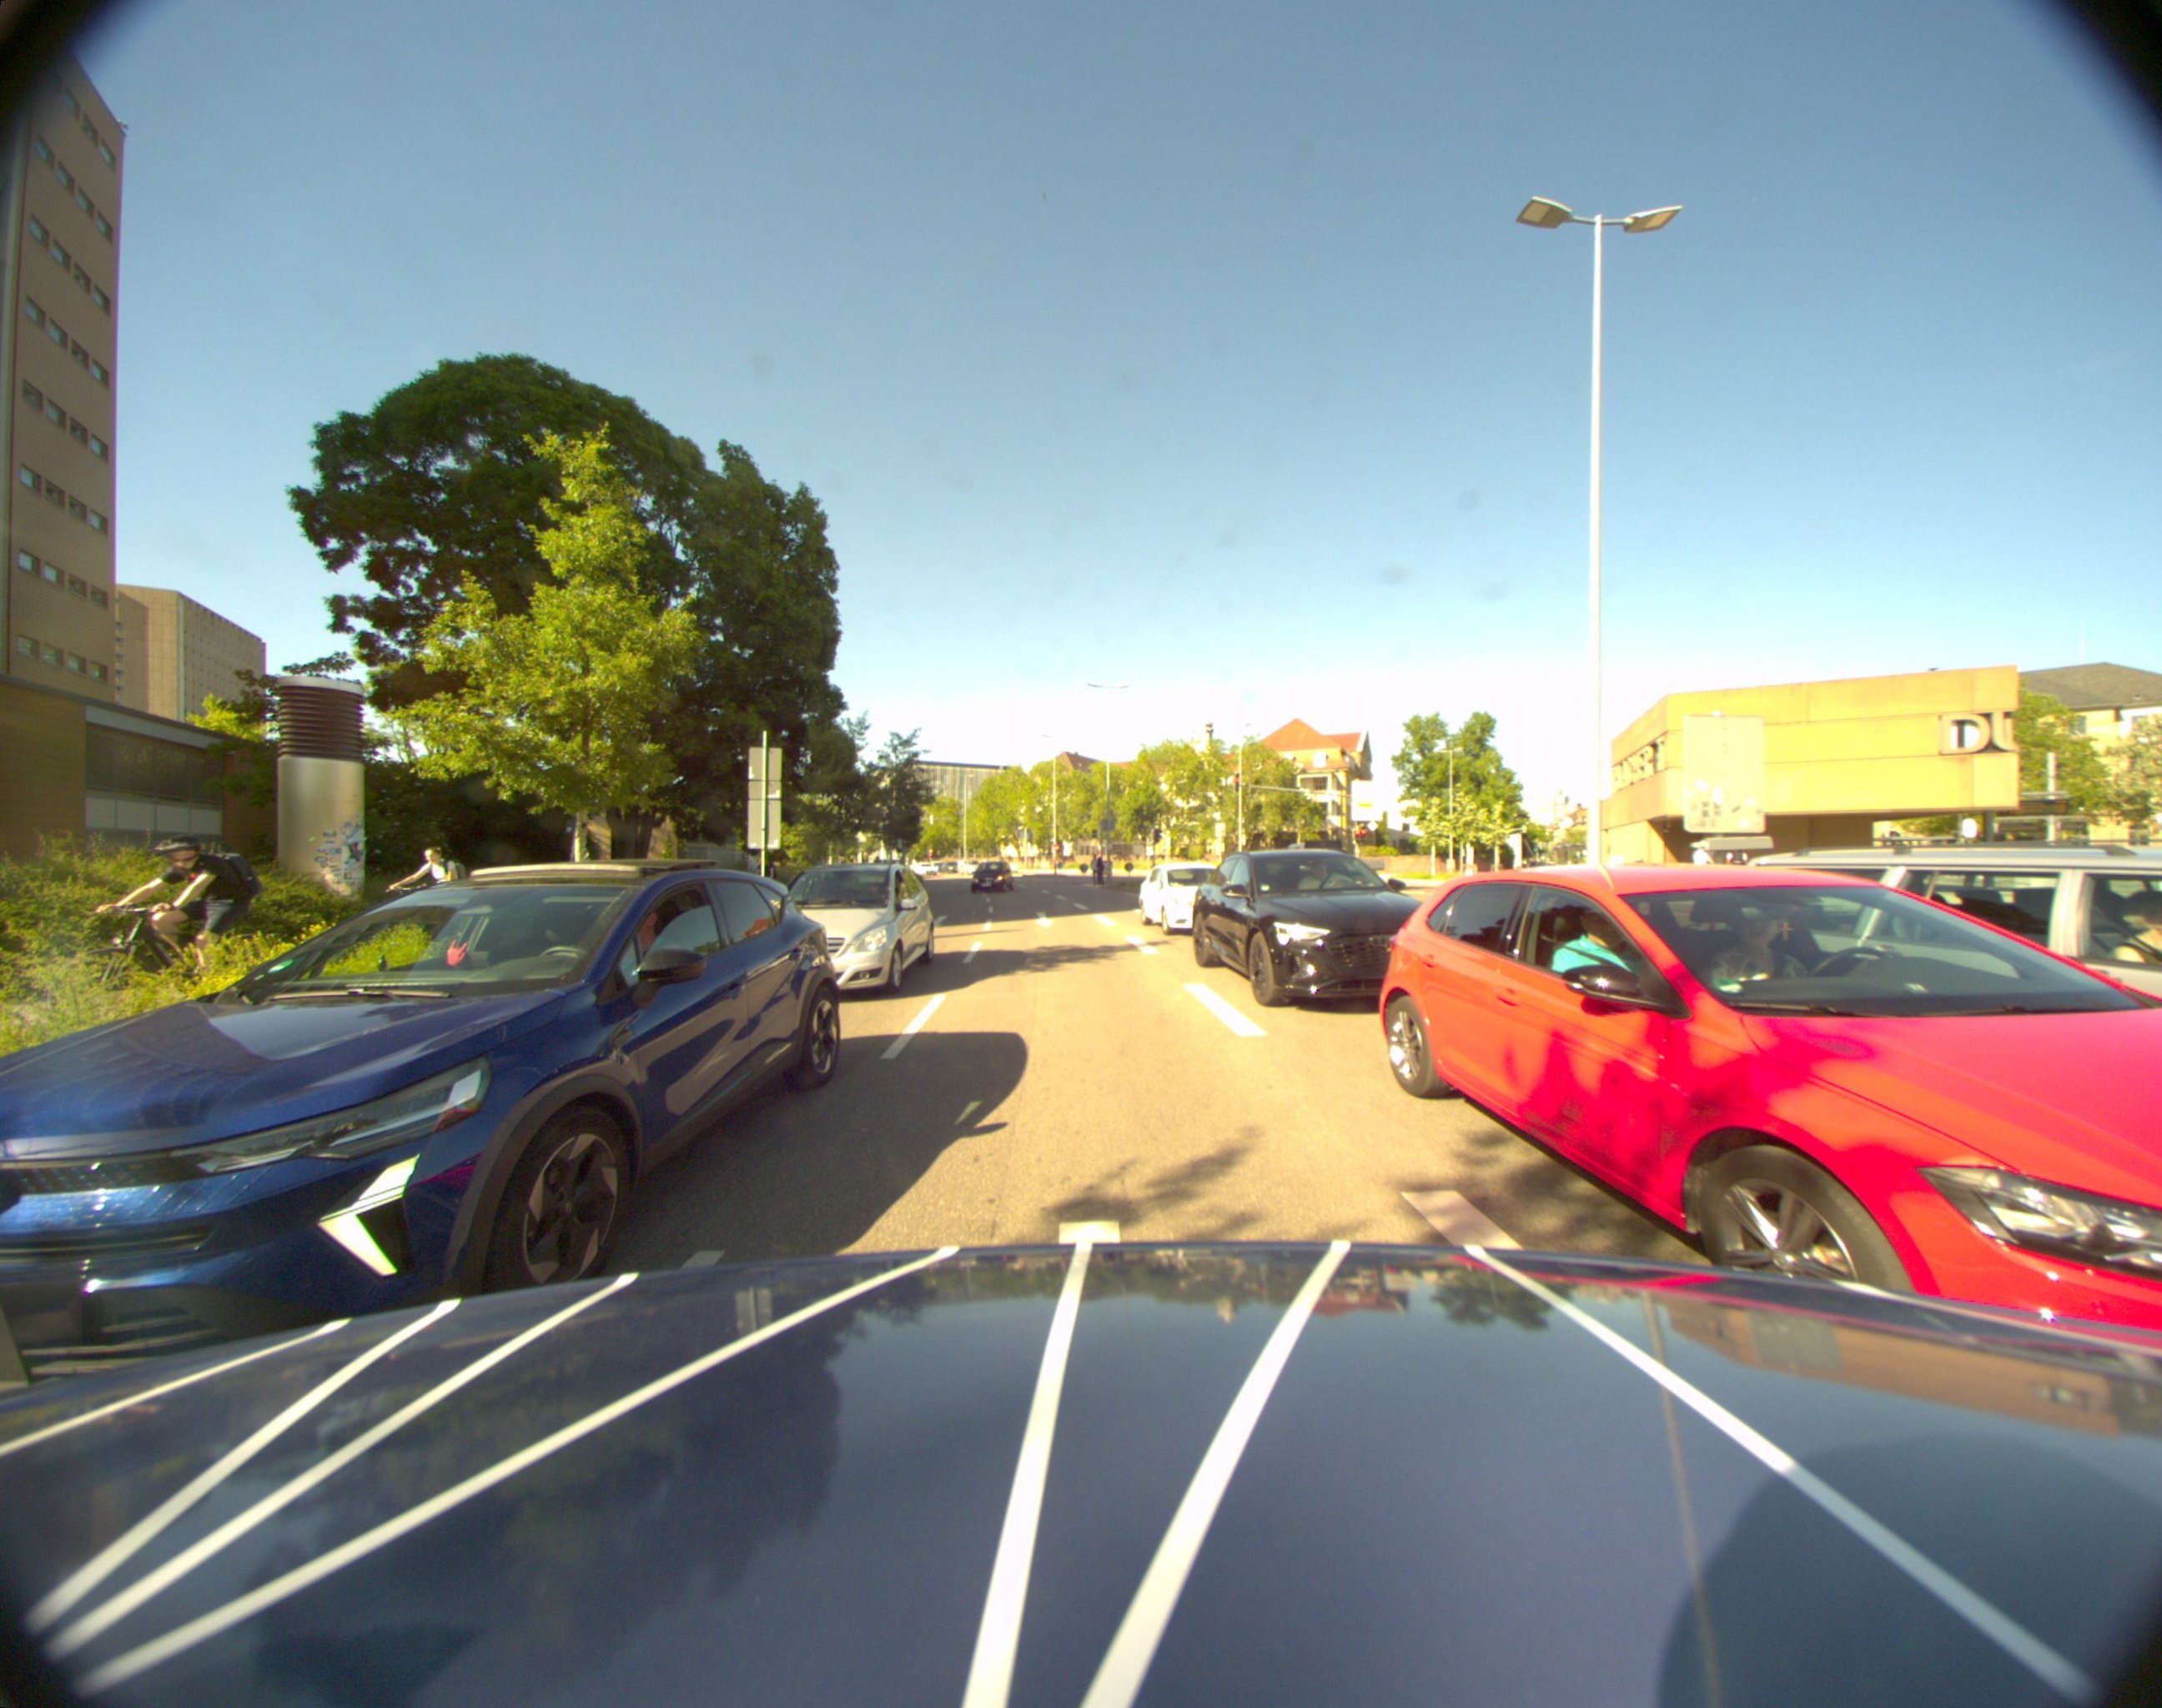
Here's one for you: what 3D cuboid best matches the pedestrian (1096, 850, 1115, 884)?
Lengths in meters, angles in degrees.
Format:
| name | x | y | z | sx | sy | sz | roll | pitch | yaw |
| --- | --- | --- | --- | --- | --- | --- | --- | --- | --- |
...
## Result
| name | x | y | z | sx | sy | sz | roll | pitch | yaw |
| --- | --- | --- | --- | --- | --- | --- | --- | --- | --- |
| pedestrian | 1.351 | 0.718 | 42.046 | 0.757 | 1.814 | 0.775 | -2 | 1 | -17 |

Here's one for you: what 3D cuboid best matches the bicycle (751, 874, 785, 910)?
| name | x | y | z | sx | sy | sz | roll | pitch | yaw |
| --- | --- | --- | --- | --- | --- | --- | --- | --- | --- |
| bicycle | -9.872 | 1.189 | 24.034 | 0.517 | 1.038 | 1.767 | 1 | 0 | -6 |

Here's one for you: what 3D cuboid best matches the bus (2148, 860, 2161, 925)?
| name | x | y | z | sx | sy | sz | roll | pitch | yaw |
| --- | --- | --- | --- | --- | --- | --- | --- | --- | --- |
| bus | 21.617 | 0.727 | 12.667 | 1.646 | 1.234 | 4.182 | -1 | 0 | -5 |

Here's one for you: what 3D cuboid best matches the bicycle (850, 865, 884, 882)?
| name | x | y | z | sx | sy | sz | roll | pitch | yaw |
| --- | --- | --- | --- | --- | --- | --- | --- | --- | --- |
| bicycle | -15.186 | 1.380 | 53.911 | 2.128 | 1.168 | 0.764 | -1 | 1 | -28 |

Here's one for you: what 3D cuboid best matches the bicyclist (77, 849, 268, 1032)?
| name | x | y | z | sx | sy | sz | roll | pitch | yaw |
| --- | --- | --- | --- | --- | --- | --- | --- | --- | --- |
| bicyclist | -8.625 | 0.772 | 7.266 | 0.627 | 1.628 | 0.994 | 0 | 0 | -3 |

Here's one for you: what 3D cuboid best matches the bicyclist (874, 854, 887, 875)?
| name | x | y | z | sx | sy | sz | roll | pitch | yaw |
| --- | --- | --- | --- | --- | --- | --- | --- | --- | --- |
| bicyclist | -12.580 | 0.660 | 47.710 | 0.723 | 1.271 | 0.906 | 2 | 0 | -17 |

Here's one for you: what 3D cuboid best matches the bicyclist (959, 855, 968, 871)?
| name | x | y | z | sx | sy | sz | roll | pitch | yaw |
| --- | --- | --- | --- | --- | --- | --- | --- | --- | --- |
| bicyclist | -12.142 | 0.924 | 78.604 | 0.696 | 1.549 | 0.814 | -2 | 1 | -23 |

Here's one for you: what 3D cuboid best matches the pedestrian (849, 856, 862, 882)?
| name | x | y | z | sx | sy | sz | roll | pitch | yaw |
| --- | --- | --- | --- | --- | --- | --- | --- | --- | --- |
| pedestrian | -14.041 | 0.932 | 47.318 | 0.694 | 1.594 | 0.660 | 0 | 0 | -27 |

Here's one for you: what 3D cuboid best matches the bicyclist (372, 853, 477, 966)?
| name | x | y | z | sx | sy | sz | roll | pitch | yaw |
| --- | --- | --- | --- | --- | --- | --- | --- | --- | --- |
| bicyclist | -9.591 | 0.778 | 11.136 | 0.687 | 1.589 | 0.977 | 0 | 0 | -1 |

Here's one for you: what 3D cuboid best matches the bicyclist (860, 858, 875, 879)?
| name | x | y | z | sx | sy | sz | roll | pitch | yaw |
| --- | --- | --- | --- | --- | --- | --- | --- | --- | --- |
| bicyclist | -15.174 | 1.030 | 53.911 | 0.848 | 1.465 | 0.764 | -1 | 0 | -28 |

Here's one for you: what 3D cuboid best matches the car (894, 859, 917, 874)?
| name | x | y | z | sx | sy | sz | roll | pitch | yaw |
| --- | --- | --- | --- | --- | --- | --- | --- | --- | --- |
| car | -18.381 | 1.310 | 79.349 | 1.754 | 1.467 | 3.567 | -2 | 1 | -22 |

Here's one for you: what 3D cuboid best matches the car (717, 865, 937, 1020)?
| name | x | y | z | sx | sy | sz | roll | pitch | yaw |
| --- | --- | --- | --- | --- | --- | --- | --- | --- | --- |
| car | -3.152 | 0.994 | 10.316 | 1.786 | 1.615 | 4.042 | -1 | 0 | -3 |

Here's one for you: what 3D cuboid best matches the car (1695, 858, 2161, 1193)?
| name | x | y | z | sx | sy | sz | roll | pitch | yaw |
| --- | --- | --- | --- | --- | --- | --- | --- | --- | --- |
| car | 5.766 | 0.791 | 3.582 | 1.713 | 1.464 | 4.750 | -2 | 0 | -3 |

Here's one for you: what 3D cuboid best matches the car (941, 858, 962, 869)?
| name | x | y | z | sx | sy | sz | roll | pitch | yaw |
| --- | --- | --- | --- | --- | --- | --- | --- | --- | --- |
| car | -15.550 | 1.111 | 91.029 | 1.587 | 1.198 | 3.992 | -3 | 2 | -23 |

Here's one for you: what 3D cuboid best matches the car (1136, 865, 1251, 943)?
| name | x | y | z | sx | sy | sz | roll | pitch | yaw |
| --- | --- | --- | --- | --- | --- | --- | --- | --- | --- |
| car | 2.301 | 0.977 | 16.451 | 1.575 | 1.410 | 3.711 | -2 | 0 | -5 |

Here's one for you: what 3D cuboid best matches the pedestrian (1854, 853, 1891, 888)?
| name | x | y | z | sx | sy | sz | roll | pitch | yaw |
| --- | --- | --- | --- | --- | --- | --- | --- | --- | --- |
| pedestrian | 30.203 | 0.626 | 29.014 | 0.645 | 1.303 | 0.763 | -1 | 0 | 10 |

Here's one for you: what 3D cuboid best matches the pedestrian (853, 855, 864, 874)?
| name | x | y | z | sx | sy | sz | roll | pitch | yaw |
| --- | --- | --- | --- | --- | --- | --- | --- | --- | --- |
| pedestrian | -22.535 | 1.034 | 77.067 | 0.823 | 1.906 | 0.770 | -2 | 1 | -29 |

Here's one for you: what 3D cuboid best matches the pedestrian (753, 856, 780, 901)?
| name | x | y | z | sx | sy | sz | roll | pitch | yaw |
| --- | --- | --- | --- | --- | --- | --- | --- | --- | --- |
| pedestrian | -9.876 | 0.760 | 23.905 | 0.517 | 1.394 | 0.961 | 1 | 0 | -6 |

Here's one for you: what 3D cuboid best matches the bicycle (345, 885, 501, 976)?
| name | x | y | z | sx | sy | sz | roll | pitch | yaw |
| --- | --- | --- | --- | --- | --- | --- | --- | --- | --- |
| bicycle | -9.593 | 1.071 | 11.192 | 0.687 | 1.157 | 1.883 | 0 | 0 | -1 |

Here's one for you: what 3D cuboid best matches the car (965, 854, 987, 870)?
| name | x | y | z | sx | sy | sz | roll | pitch | yaw |
| --- | --- | --- | --- | --- | --- | --- | --- | --- | --- |
| car | -11.451 | 0.930 | 82.801 | 1.527 | 1.669 | 3.374 | -2 | 0 | -24 |

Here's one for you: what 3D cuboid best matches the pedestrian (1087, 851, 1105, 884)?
| name | x | y | z | sx | sy | sz | roll | pitch | yaw |
| --- | --- | --- | --- | --- | --- | --- | --- | --- | --- |
| pedestrian | 0.858 | 0.749 | 43.274 | 0.887 | 1.814 | 0.776 | -2 | 1 | -7 |

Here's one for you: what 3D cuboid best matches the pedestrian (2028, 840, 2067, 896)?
| name | x | y | z | sx | sy | sz | roll | pitch | yaw |
| --- | --- | --- | --- | --- | --- | --- | --- | --- | --- |
| pedestrian | 31.147 | 0.449 | 24.492 | 0.644 | 1.766 | 0.469 | -1 | 0 | 21 |

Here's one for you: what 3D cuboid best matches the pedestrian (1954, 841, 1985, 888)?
| name | x | y | z | sx | sy | sz | roll | pitch | yaw |
| --- | --- | --- | --- | --- | --- | --- | --- | --- | --- |
| pedestrian | 33.229 | 0.390 | 28.421 | 0.645 | 1.766 | 0.468 | -1 | 0 | -4 |

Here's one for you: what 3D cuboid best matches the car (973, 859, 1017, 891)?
| name | x | y | z | sx | sy | sz | roll | pitch | yaw |
| --- | --- | --- | --- | --- | --- | --- | --- | --- | --- |
| car | -4.396 | 1.056 | 39.280 | 1.650 | 1.601 | 3.490 | 0 | 0 | 3 |

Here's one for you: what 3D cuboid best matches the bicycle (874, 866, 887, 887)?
| name | x | y | z | sx | sy | sz | roll | pitch | yaw |
| --- | --- | --- | --- | --- | --- | --- | --- | --- | --- |
| bicycle | -12.610 | 1.408 | 47.741 | 0.693 | 1.211 | 1.832 | 2 | 0 | -16 |

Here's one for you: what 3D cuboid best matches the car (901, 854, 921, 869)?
| name | x | y | z | sx | sy | sz | roll | pitch | yaw |
| --- | --- | --- | --- | --- | --- | --- | --- | --- | --- |
| car | -24.630 | 1.047 | 110.027 | 1.790 | 2.002 | 4.223 | -2 | 1 | -26 |

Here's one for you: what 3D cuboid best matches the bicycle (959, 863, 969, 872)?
| name | x | y | z | sx | sy | sz | roll | pitch | yaw |
| --- | --- | --- | --- | --- | --- | --- | --- | --- | --- |
| bicycle | -12.135 | 1.354 | 78.676 | 0.591 | 0.884 | 1.652 | -2 | 0 | -23 |

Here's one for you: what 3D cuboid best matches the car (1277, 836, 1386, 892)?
| name | x | y | z | sx | sy | sz | roll | pitch | yaw |
| --- | --- | --- | --- | --- | --- | --- | --- | --- | --- |
| car | 11.346 | 0.424 | 35.059 | 2.117 | 2.300 | 6.209 | -1 | 0 | -9 |

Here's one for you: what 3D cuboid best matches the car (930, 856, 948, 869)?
| name | x | y | z | sx | sy | sz | roll | pitch | yaw |
| --- | --- | --- | --- | --- | --- | --- | --- | --- | --- |
| car | -18.248 | 1.111 | 97.430 | 1.598 | 1.595 | 3.066 | -1 | 0 | -25 |

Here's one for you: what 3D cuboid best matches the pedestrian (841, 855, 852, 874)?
| name | x | y | z | sx | sy | sz | roll | pitch | yaw |
| --- | --- | --- | --- | --- | --- | --- | --- | --- | --- |
| pedestrian | -23.732 | 1.078 | 76.880 | 0.823 | 1.906 | 0.770 | -2 | 1 | -29 |

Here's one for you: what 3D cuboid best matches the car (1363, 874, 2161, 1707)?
| name | x | y | z | sx | sy | sz | roll | pitch | yaw |
| --- | --- | --- | --- | --- | --- | --- | --- | --- | --- |
| car | 2.786 | 0.887 | 3.248 | 1.674 | 1.464 | 3.853 | -2 | 0 | 0 |

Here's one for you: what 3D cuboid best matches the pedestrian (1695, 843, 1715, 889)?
| name | x | y | z | sx | sy | sz | roll | pitch | yaw |
| --- | --- | --- | --- | --- | --- | --- | --- | --- | --- |
| pedestrian | 24.062 | 0.467 | 29.291 | 0.467 | 1.766 | 0.647 | 0 | 0 | 29 |

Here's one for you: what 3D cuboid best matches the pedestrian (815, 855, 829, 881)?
| name | x | y | z | sx | sy | sz | roll | pitch | yaw |
| --- | --- | --- | --- | --- | --- | --- | --- | --- | --- |
| pedestrian | -15.569 | 0.833 | 45.645 | 0.694 | 1.594 | 0.660 | 0 | 0 | -26 |

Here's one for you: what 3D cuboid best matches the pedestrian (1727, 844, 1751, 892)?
| name | x | y | z | sx | sy | sz | roll | pitch | yaw |
| --- | --- | --- | --- | --- | --- | --- | --- | --- | --- |
| pedestrian | 24.310 | 0.504 | 28.068 | 0.644 | 1.766 | 0.618 | 0 | 1 | 42 |

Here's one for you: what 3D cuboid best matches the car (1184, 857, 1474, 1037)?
| name | x | y | z | sx | sy | sz | roll | pitch | yaw |
| --- | --- | --- | --- | --- | --- | --- | --- | --- | --- |
| car | 2.576 | 0.851 | 9.157 | 1.859 | 1.606 | 4.452 | -1 | 0 | -3 |

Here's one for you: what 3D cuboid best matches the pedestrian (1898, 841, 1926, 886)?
| name | x | y | z | sx | sy | sz | roll | pitch | yaw |
| --- | --- | --- | --- | --- | --- | --- | --- | --- | --- |
| pedestrian | 33.151 | 0.377 | 30.319 | 0.645 | 1.766 | 0.468 | -1 | 0 | -4 |

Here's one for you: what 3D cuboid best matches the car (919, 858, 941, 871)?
| name | x | y | z | sx | sy | sz | roll | pitch | yaw |
| --- | --- | --- | --- | --- | --- | --- | --- | --- | --- |
| car | -16.497 | 1.156 | 82.889 | 1.754 | 1.370 | 3.568 | -1 | 0 | -21 |

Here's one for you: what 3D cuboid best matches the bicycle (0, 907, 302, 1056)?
| name | x | y | z | sx | sy | sz | roll | pitch | yaw |
| --- | --- | --- | --- | --- | --- | --- | --- | --- | --- |
| bicycle | -8.621 | 1.113 | 7.195 | 0.627 | 1.107 | 1.850 | 0 | 0 | -3 |

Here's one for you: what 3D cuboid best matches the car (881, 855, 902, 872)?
| name | x | y | z | sx | sy | sz | roll | pitch | yaw |
| --- | --- | --- | --- | --- | --- | --- | --- | --- | --- |
| car | -21.429 | 1.075 | 85.667 | 1.830 | 1.842 | 3.745 | 0 | 0 | -21 |

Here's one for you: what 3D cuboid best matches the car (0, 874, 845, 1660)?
| name | x | y | z | sx | sy | sz | roll | pitch | yaw |
| --- | --- | --- | --- | --- | --- | --- | --- | --- | --- |
| car | -2.665 | 0.957 | 3.679 | 1.705 | 1.596 | 4.084 | -1 | 0 | 1 |
